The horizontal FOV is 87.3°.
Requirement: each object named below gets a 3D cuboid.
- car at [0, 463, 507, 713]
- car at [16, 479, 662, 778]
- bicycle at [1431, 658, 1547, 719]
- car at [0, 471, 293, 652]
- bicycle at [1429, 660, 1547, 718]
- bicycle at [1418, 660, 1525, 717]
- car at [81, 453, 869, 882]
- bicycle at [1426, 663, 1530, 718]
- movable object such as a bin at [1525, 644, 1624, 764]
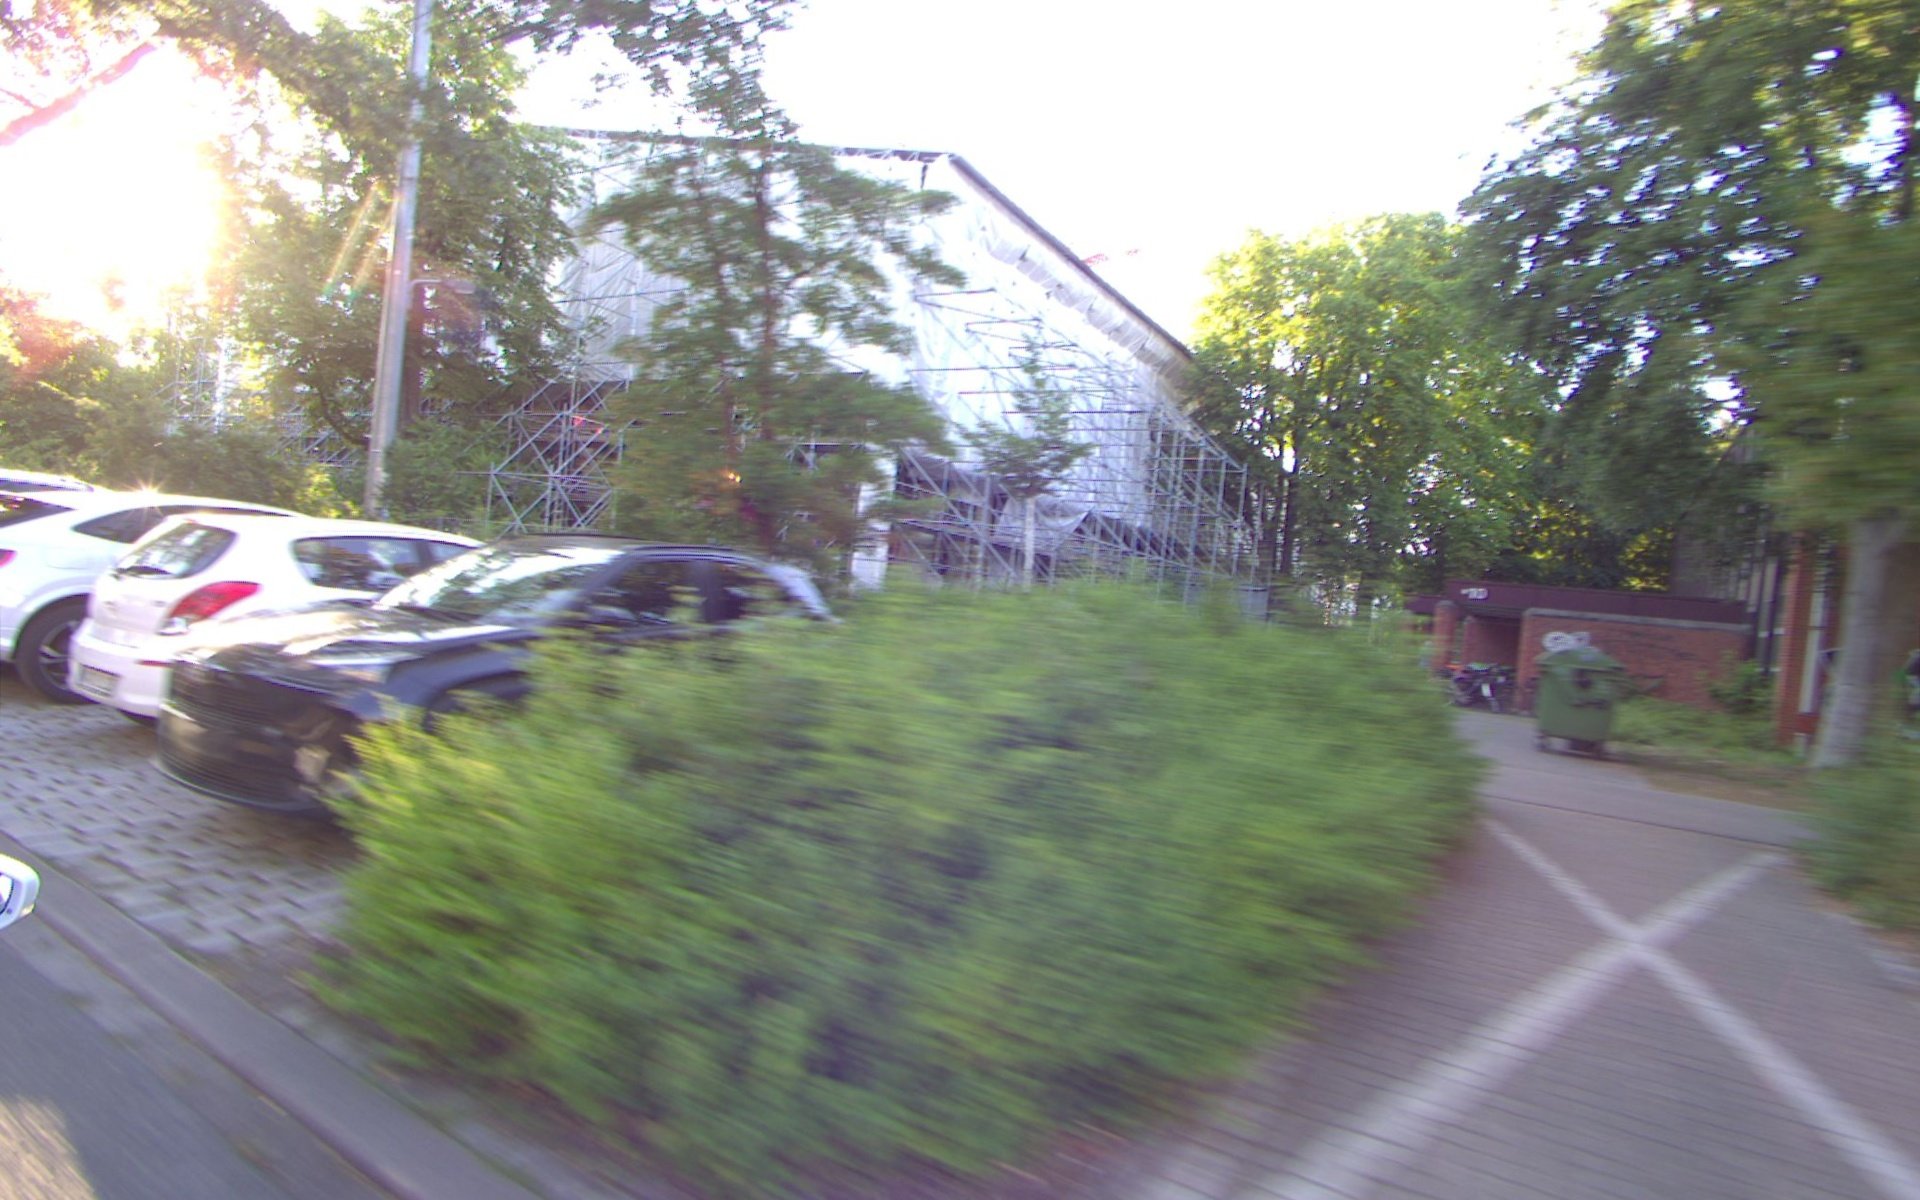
[{"bbox_3d":[-6.349,-0.013,8.628,1.694,1.687,4.128,6,-1,32],"label":"car"},{"bbox_3d":[-4.276,0.196,7.473,1.788,1.586,3.592,6,0,31],"label":"car"},{"bbox_3d":[12.907,2.130,24.585,2.349,1.153,0.647,6,1,33],"label":"bicycle"},{"bbox_3d":[-10.178,-0.471,11.151,1.838,1.731,4.171,6,-1,36],"label":"car"},{"bbox_3d":[12.507,2.083,23.858,2.349,1.058,0.647,6,1,33],"label":"bicycle"},{"bbox_3d":[13.392,2.301,26.380,2.349,1.153,0.647,6,1,33],"label":"bicycle"},{"bbox_3d":[-2.357,0.343,5.871,1.668,1.613,3.751,6,-1,30],"label":"car"},{"bbox_3d":[13.981,2.428,27.169,2.349,1.153,0.647,6,1,33],"label":"bicycle"},{"bbox_3d":[8.377,1.391,13.699,0.969,1.457,0.961,7,1,35],"label":"movable object such as a bin"}]
